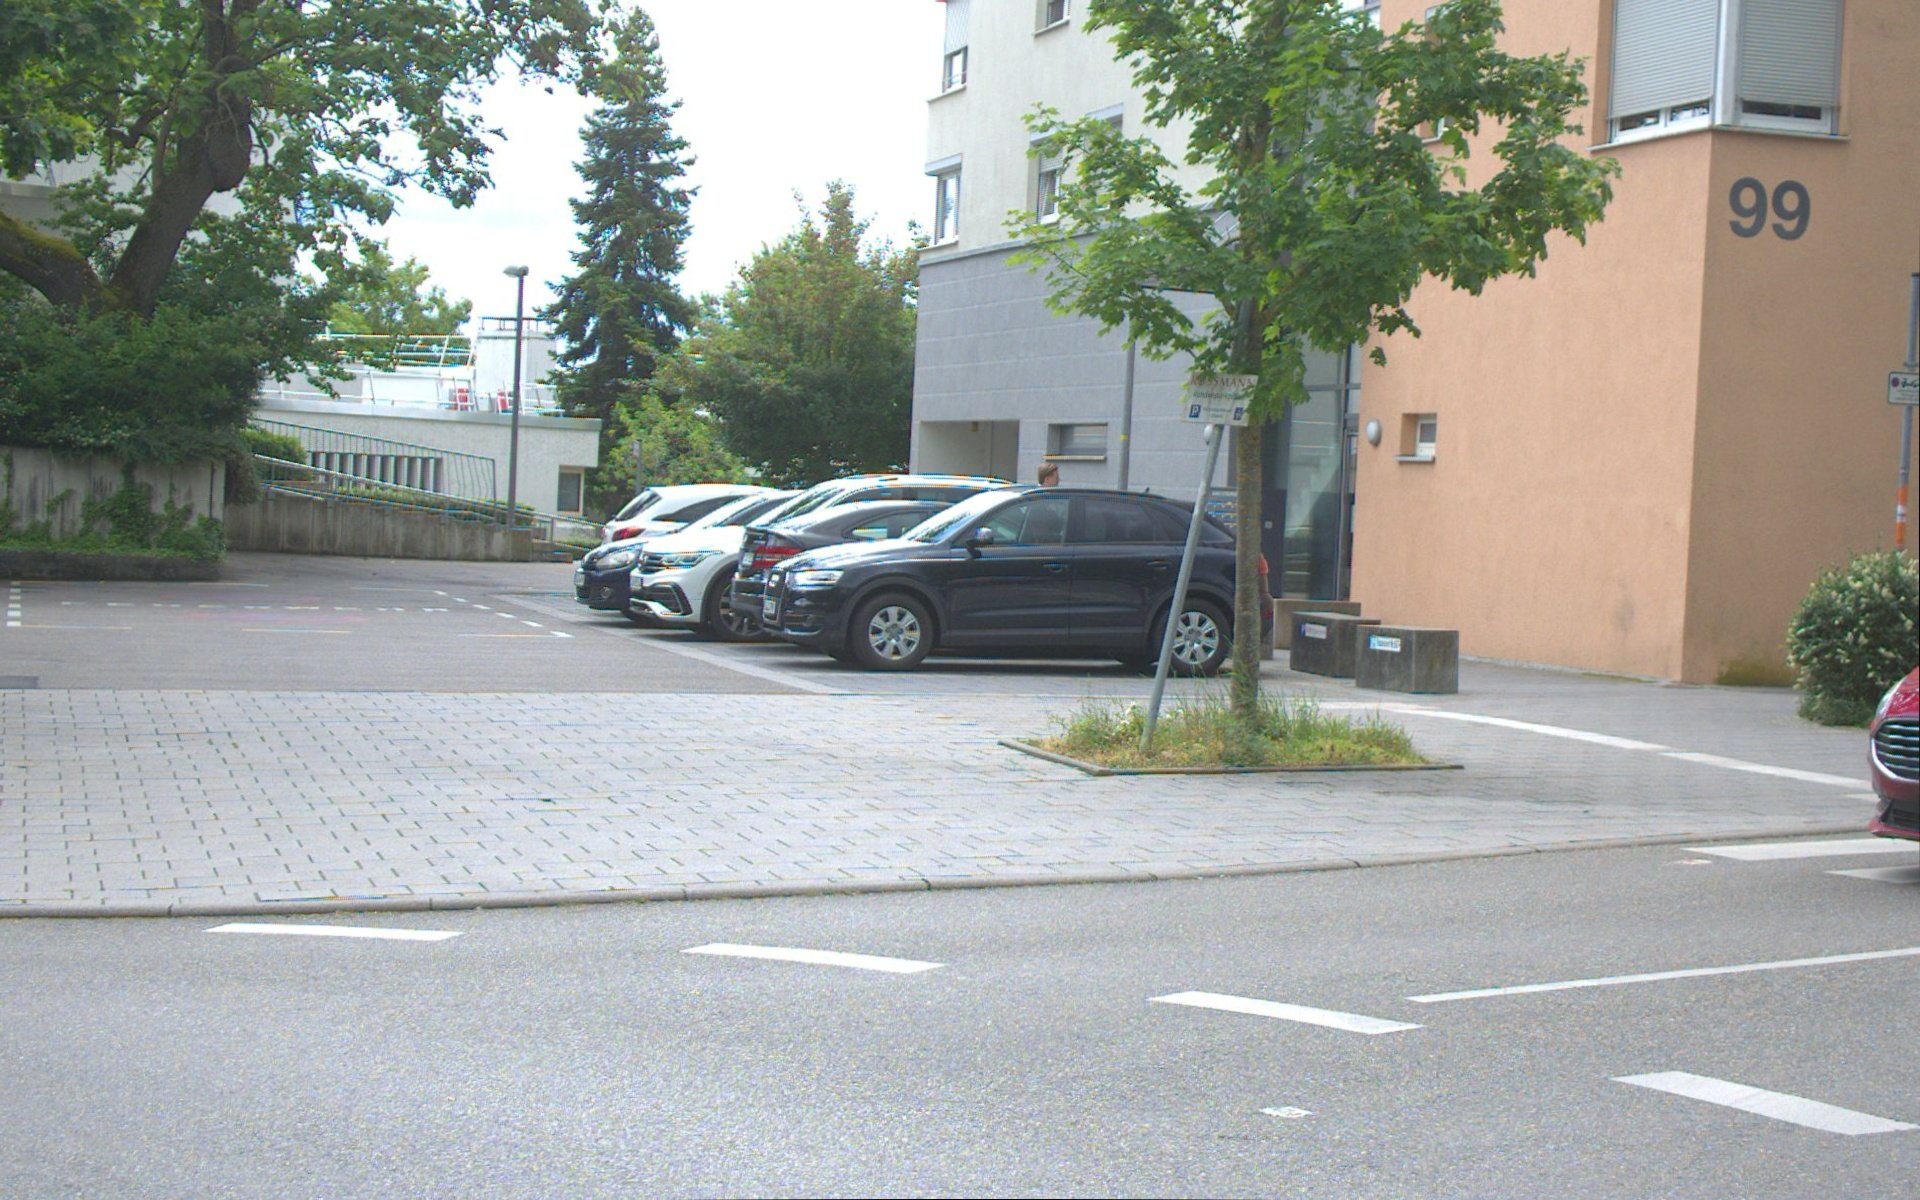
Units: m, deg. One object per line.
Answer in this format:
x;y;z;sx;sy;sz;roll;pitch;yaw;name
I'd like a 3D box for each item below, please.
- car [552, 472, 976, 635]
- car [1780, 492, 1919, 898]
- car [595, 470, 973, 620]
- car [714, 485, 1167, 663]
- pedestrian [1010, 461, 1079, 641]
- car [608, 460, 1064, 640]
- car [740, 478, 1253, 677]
-2.050;-0.472;35.750;4.040;1.512;1.756;2;0;-18;car
5.966;0.340;14.697;4.520;1.639;1.981;-1;2;-24;car
-2.008;-0.610;38.818;3.979;1.512;1.757;2;0;-12;car
-0.205;-0.238;31.453;3.826;1.454;1.693;2;0;-12;car
0.875;-0.506;35.792;0.478;1.846;0.507;2;0;-25;pedestrian
-1.231;-0.483;33.884;4.118;1.588;1.693;2;0;-19;car
0.278;-0.190;29.394;4.040;1.512;1.756;2;0;-12;car
